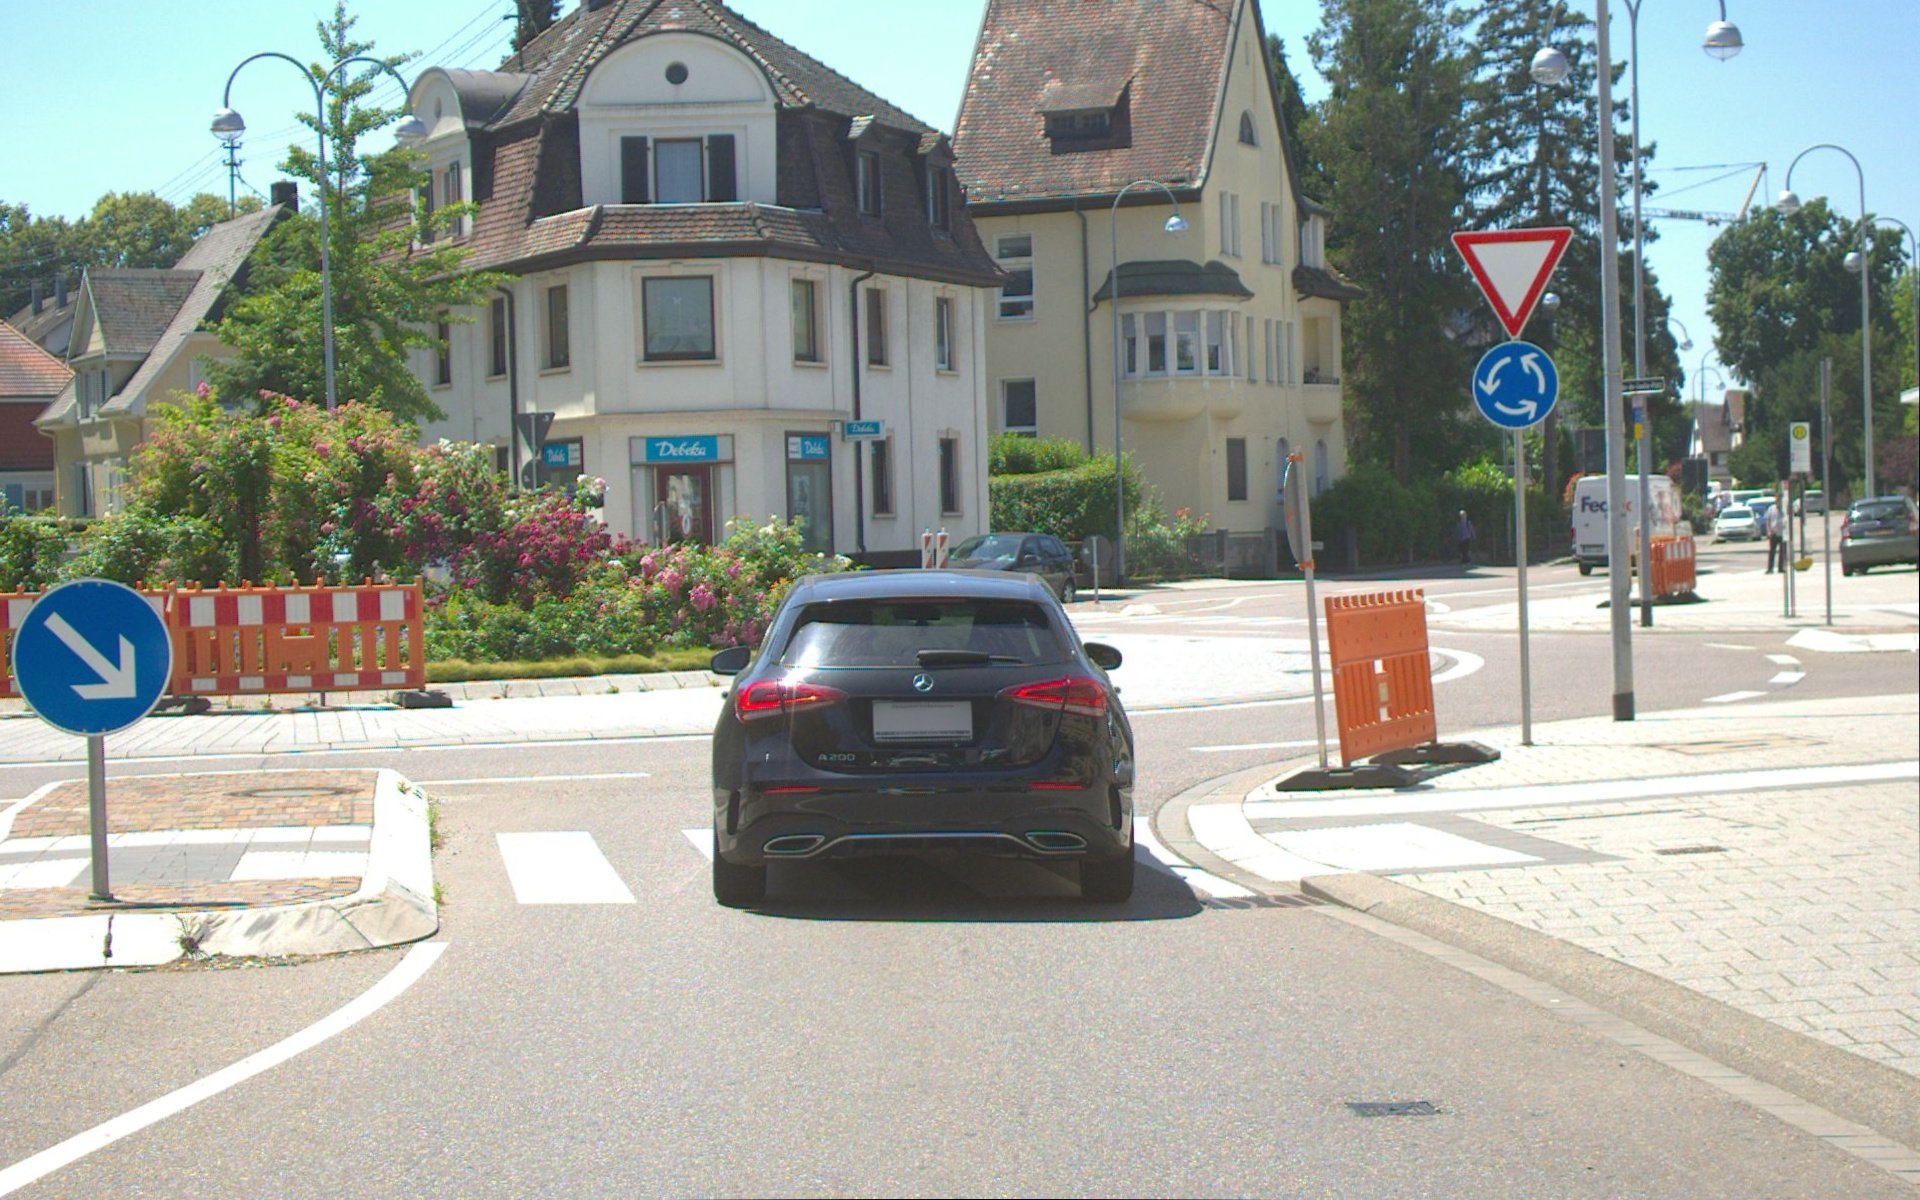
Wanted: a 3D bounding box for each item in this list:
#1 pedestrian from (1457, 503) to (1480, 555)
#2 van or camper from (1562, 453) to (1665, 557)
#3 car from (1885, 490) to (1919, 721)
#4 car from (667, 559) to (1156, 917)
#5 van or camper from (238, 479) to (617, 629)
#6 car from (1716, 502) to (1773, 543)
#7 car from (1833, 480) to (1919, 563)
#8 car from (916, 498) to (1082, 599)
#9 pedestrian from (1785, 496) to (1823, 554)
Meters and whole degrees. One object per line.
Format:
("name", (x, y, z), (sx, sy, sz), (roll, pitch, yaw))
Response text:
("pedestrian", (14.849, -2.076, 100.350), (0.523, 1.504, 0.473), (-1, 1, 25))
("van or camper", (17.015, -2.473, 89.398), (2.207, 2.601, 3.997), (-1, 1, 17))
("car", (7.153, 0.025, 20.978), (1.764, 1.525, 4.690), (-3, 1, 1))
("car", (-0.230, 0.536, 15.814), (1.953, 1.422, 4.000), (0, 0, -1))
("van or camper", (-8.093, -0.739, 52.550), (5.397, 2.164, 2.000), (-2, 1, -37))
("car", (32.526, -3.225, 142.522), (1.995, 1.645, 3.997), (-1, 1, 17))
("car", (18.640, -1.607, 69.333), (1.641, 1.502, 3.561), (-4, 1, 19))
("car", (0.749, -0.954, 62.921), (1.922, 1.766, 3.997), (1, 1, 18))
("pedestrian", (19.675, -1.743, 80.143), (0.667, 1.281, 0.586), (-4, 0, 26))
